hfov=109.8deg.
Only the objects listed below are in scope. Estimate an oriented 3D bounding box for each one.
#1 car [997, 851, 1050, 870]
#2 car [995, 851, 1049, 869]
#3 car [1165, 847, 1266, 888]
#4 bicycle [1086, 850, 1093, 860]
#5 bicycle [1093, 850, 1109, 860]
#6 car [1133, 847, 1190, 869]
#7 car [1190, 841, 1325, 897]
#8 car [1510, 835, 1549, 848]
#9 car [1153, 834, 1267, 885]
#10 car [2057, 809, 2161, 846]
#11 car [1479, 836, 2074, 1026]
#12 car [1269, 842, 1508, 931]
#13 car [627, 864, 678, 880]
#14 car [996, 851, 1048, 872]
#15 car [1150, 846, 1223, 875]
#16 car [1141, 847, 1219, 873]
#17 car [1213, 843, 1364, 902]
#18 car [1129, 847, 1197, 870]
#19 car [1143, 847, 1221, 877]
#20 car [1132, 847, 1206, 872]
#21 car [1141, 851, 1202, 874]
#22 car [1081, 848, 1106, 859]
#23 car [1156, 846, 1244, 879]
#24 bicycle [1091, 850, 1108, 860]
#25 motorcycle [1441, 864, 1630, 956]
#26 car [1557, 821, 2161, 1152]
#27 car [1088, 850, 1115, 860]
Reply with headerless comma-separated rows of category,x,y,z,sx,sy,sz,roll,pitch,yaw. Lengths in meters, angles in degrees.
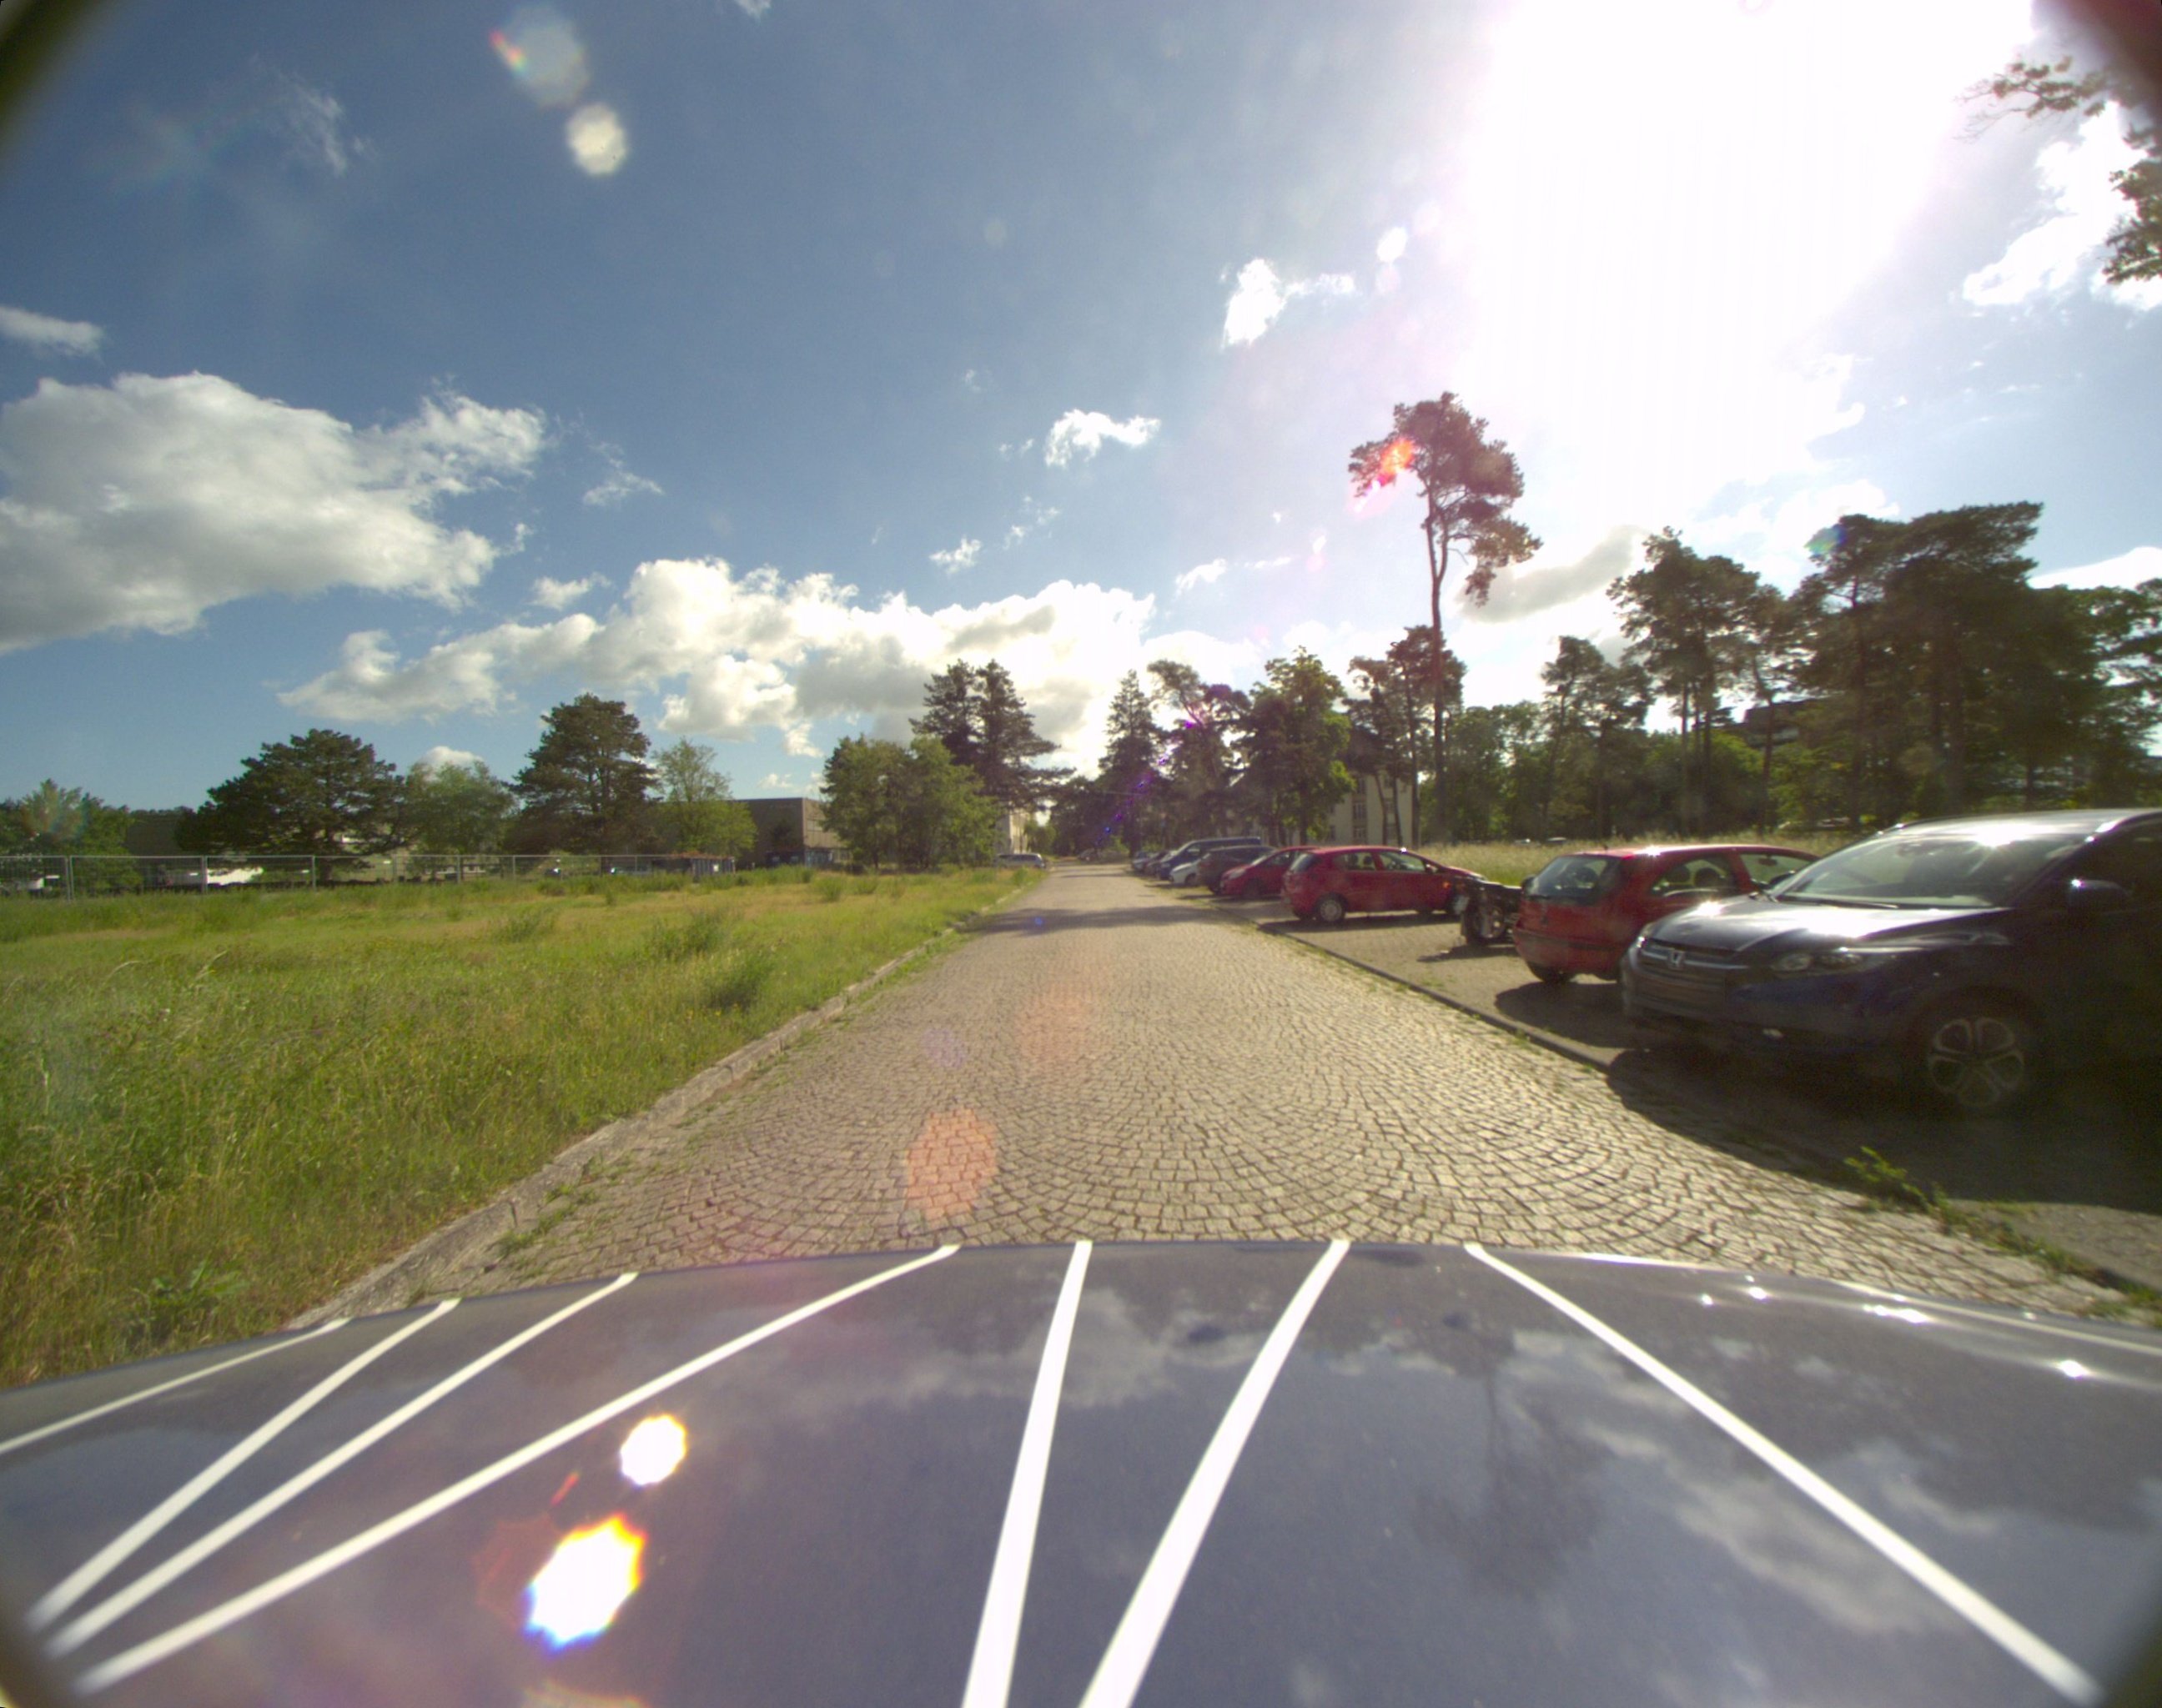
car,-4.486,0.495,59.923,4.015,1.433,1.843,1,0,-2
car,-5.002,0.509,65.155,4.525,1.456,1.838,0,1,-3
car,5.580,0.534,31.741,3.826,1.432,1.682,-3,1,-3
bicycle,1.165,0.165,103.505,0.621,1.342,2.114,-4,1,-4
bicycle,2.833,0.147,109.101,2.114,1.276,0.621,-4,1,-6
car,6.092,0.289,58.066,4.037,1.474,1.949,-3,0,-2
car,5.811,0.482,25.406,3.964,1.558,1.974,-3,0,-1
car,59.075,-1.611,100.207,4.105,1.571,1.720,-1,1,2
car,5.745,0.240,34.309,4.729,1.956,2.005,-3,1,0
car,64.144,-1.620,47.060,4.858,2.152,1.957,-1,1,1
car,6.286,0.651,7.278,3.933,1.424,1.842,-3,0,1
car,5.963,0.607,15.081,3.933,1.452,1.842,-3,0,-1
car,-42.303,1.758,75.122,3.997,1.413,1.746,-2,-1,0
car,-4.411,0.542,57.179,3.750,1.468,1.751,1,1,-2
car,6.273,0.388,45.403,4.087,1.444,1.821,-3,2,1
car,6.493,0.386,50.384,4.877,1.413,1.938,-3,1,0
car,6.101,0.534,22.675,3.933,1.440,1.866,-3,0,-1
car,5.926,0.319,55.447,4.594,1.443,1.983,-3,1,-3
car,5.622,0.433,42.520,4.087,1.417,1.923,-3,0,1
car,6.060,0.339,52.727,4.877,1.413,1.938,-3,2,0
car,5.673,0.519,48.076,3.639,1.227,1.759,-3,2,1
car,2.331,-0.109,139.054,4.227,1.903,1.816,-2,1,-10
car,6.157,0.427,39.636,4.207,1.466,1.823,-3,0,0
bicycle,2.606,0.143,106.849,2.114,1.276,0.621,-7,1,-3
motorcycle,6.295,0.767,10.590,2.247,1.155,0.577,-2,1,1
car,5.693,0.640,4.800,4.145,1.570,1.884,-3,0,0
car,3.295,0.114,121.704,4.044,1.514,1.816,-1,1,-8
